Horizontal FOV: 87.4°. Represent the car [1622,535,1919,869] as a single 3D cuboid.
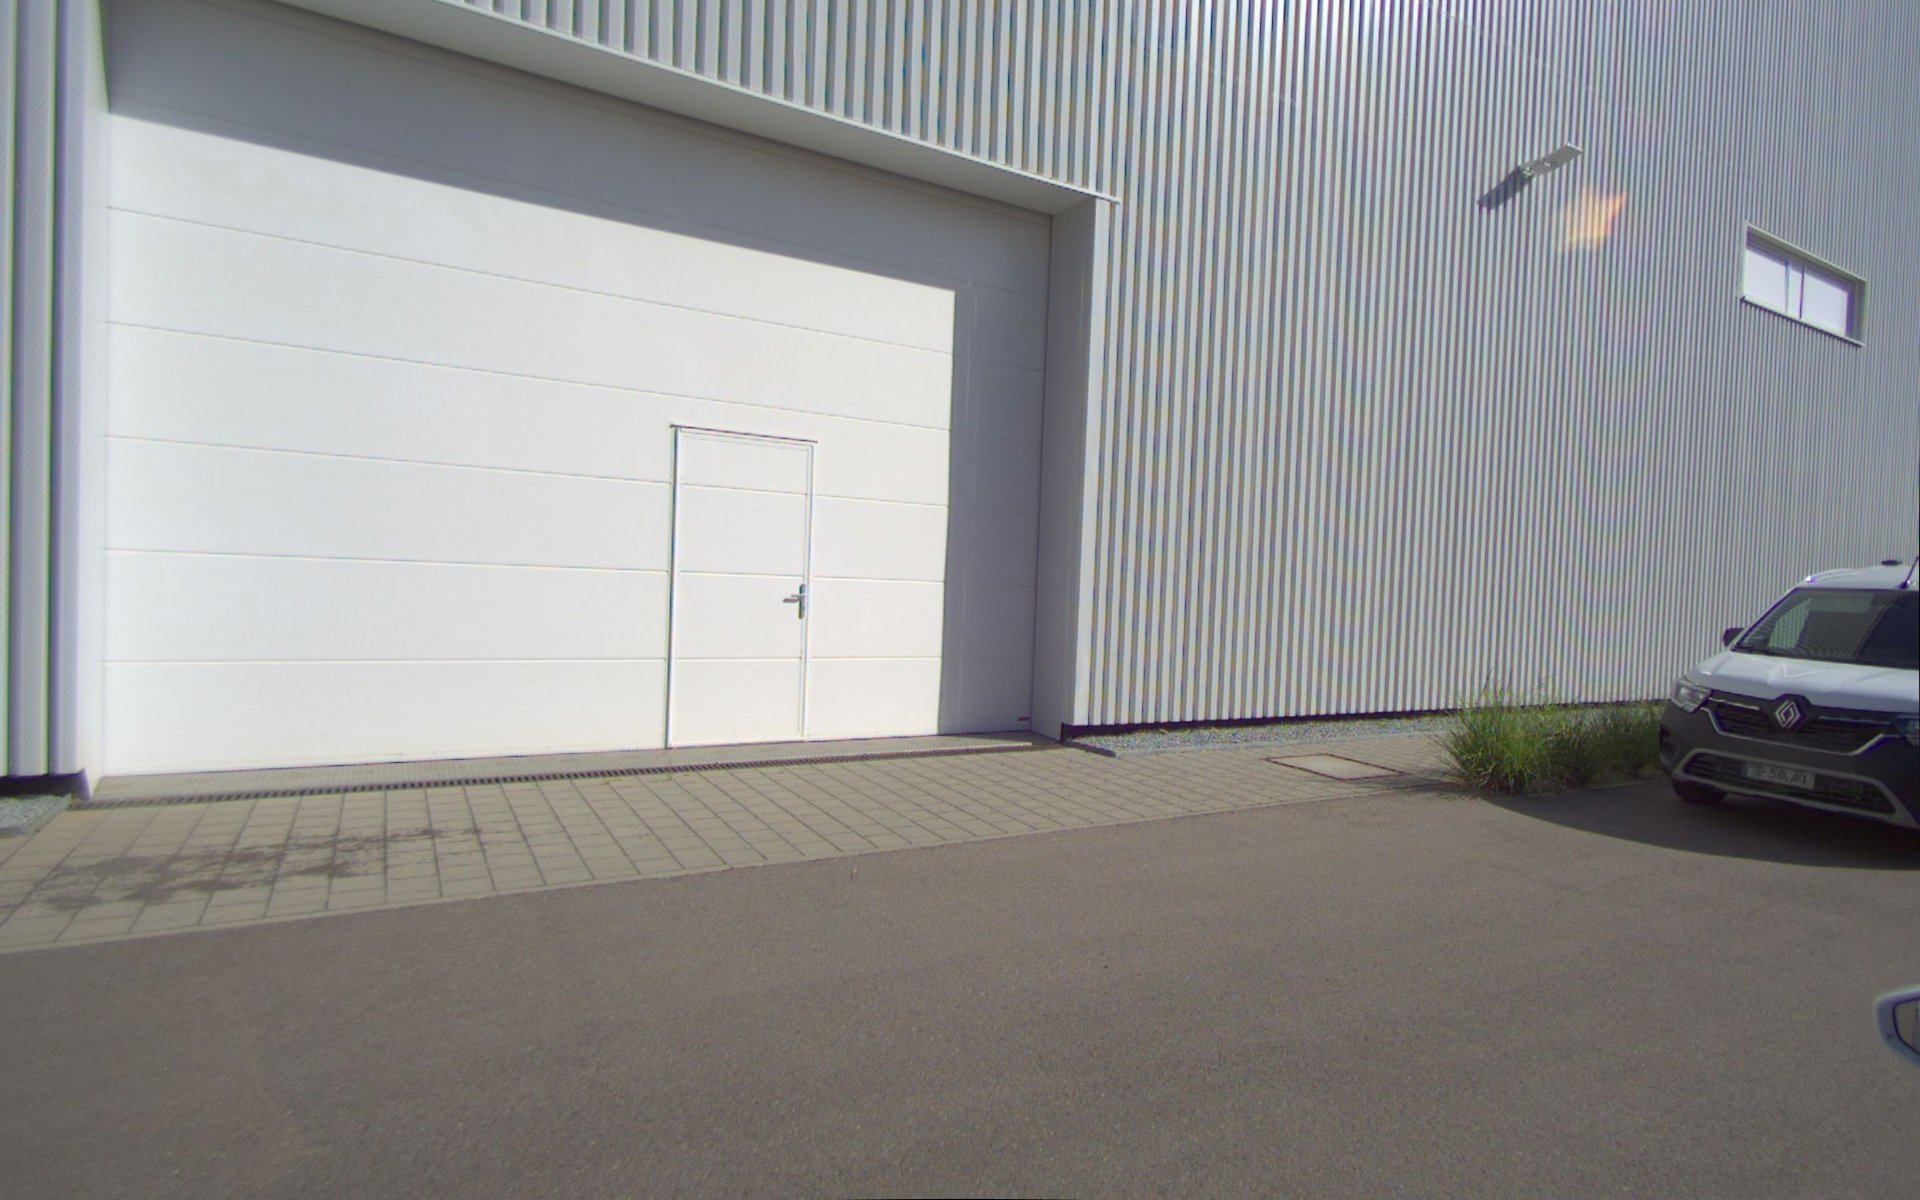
[{"bbox_3d":[6.950,0.604,7.233,4.549,1.840,1.774,2,2,-31],"label":"car"}]
